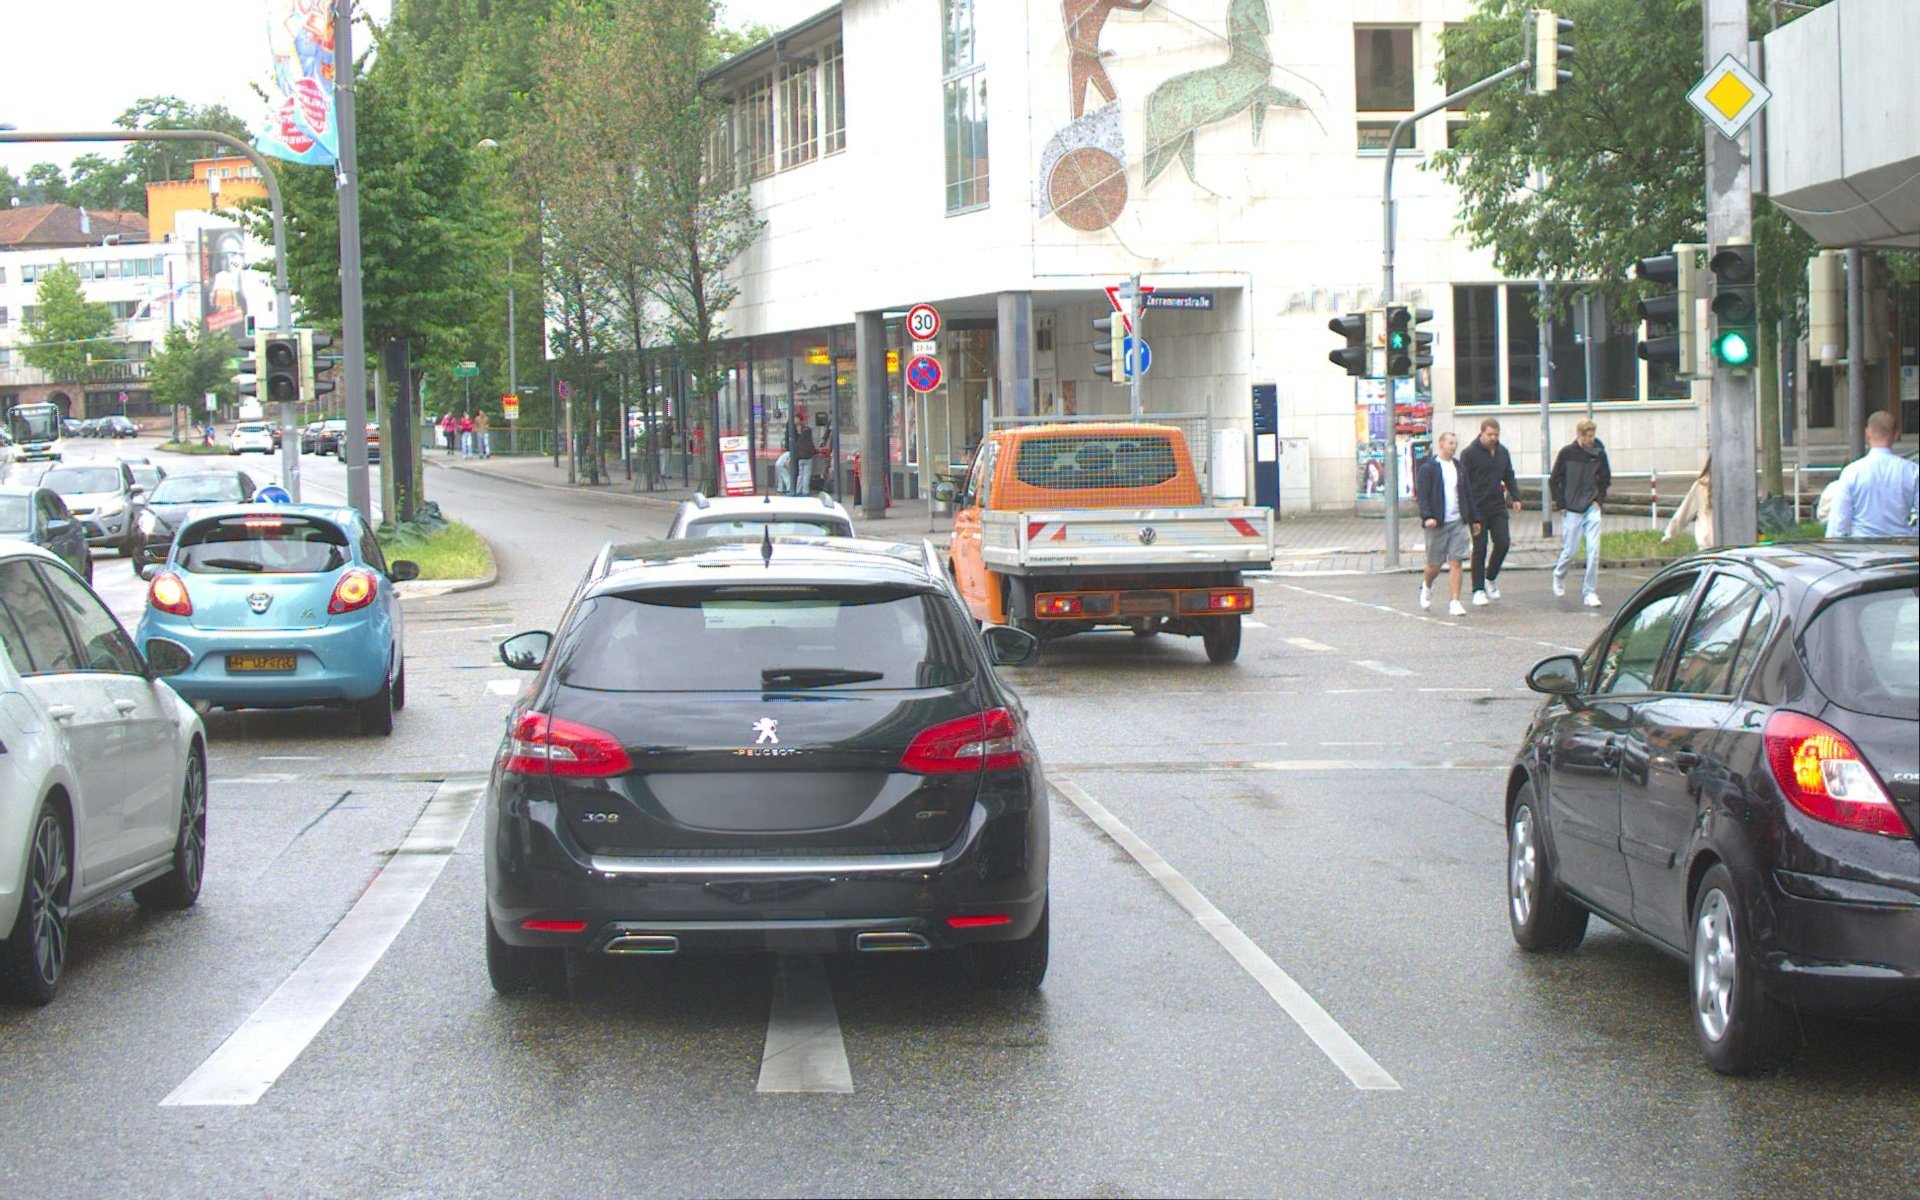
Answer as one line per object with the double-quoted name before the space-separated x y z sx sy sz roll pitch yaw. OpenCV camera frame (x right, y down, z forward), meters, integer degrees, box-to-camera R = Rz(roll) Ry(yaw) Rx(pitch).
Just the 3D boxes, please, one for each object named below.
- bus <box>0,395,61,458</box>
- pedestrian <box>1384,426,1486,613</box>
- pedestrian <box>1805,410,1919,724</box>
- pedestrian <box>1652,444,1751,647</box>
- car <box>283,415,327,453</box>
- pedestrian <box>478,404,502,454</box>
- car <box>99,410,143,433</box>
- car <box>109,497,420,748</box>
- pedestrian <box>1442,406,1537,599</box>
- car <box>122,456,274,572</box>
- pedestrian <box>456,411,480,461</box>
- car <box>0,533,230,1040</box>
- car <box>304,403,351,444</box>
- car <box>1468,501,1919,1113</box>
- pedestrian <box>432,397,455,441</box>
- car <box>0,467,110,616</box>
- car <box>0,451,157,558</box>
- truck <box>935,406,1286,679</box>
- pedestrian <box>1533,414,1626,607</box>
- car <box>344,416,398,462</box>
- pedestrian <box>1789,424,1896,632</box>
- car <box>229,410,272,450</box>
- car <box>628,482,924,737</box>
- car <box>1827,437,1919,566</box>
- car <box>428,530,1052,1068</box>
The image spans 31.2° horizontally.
"bus" -50.694 -9.527 187.392 2.743 3.064 12.243 -2 5 -17
"pedestrian" 4.613 -0.784 33.452 0.748 1.773 0.888 -2 1 -6
"pedestrian" 5.473 -0.202 20.641 0.622 1.840 0.847 -1 1 4
"pedestrian" 6.279 -0.476 29.137 0.574 1.657 0.940 -3 3 0
"car" -29.490 -7.461 154.739 1.644 1.559 3.601 1 0 -15
"pedestrian" -17.057 -6.204 124.742 0.698 1.795 0.607 -4 4 -15
"car" -61.157 -13.007 250.564 1.645 1.559 3.599 1 0 -39
"car" -4.560 0.081 22.982 1.695 1.469 3.691 -1 2 -6
"pedestrian" 5.314 -0.981 34.510 0.758 1.895 0.790 -2 1 -3
"car" -11.161 -1.295 50.548 1.622 1.550 3.661 -2 3 -4
"pedestrian" -17.825 -5.949 124.578 0.653 1.761 0.923 -4 4 -15
"car" -3.728 0.492 11.788 1.765 1.404 4.001 1 2 -3
"car" -26.304 -7.326 142.882 1.644 1.559 3.601 1 0 -15
"car" 2.770 0.469 10.552 1.708 1.452 3.743 0 3 -2
"pedestrian" -19.594 -6.878 130.409 0.717 1.614 0.770 -4 4 -15
"car" -10.301 -0.605 36.459 1.713 1.473 3.958 -3 2 -3
"car" -15.231 -1.683 59.545 1.827 1.730 4.312 -2 2 -4
"truck" 1.142 -0.538 28.679 2.121 2.018 4.717 -2 3 -7
"pedestrian" 6.191 -0.894 34.392 0.732 1.889 0.676 -2 1 -3
"car" -21.981 -5.988 128.142 1.644 1.559 3.601 1 0 -15
"pedestrian" 7.468 -0.624 29.113 0.588 1.700 0.971 -3 3 0
"car" -31.232 -7.461 151.261 1.644 1.559 3.601 1 0 -15
"car" -1.349 -0.012 23.716 1.794 1.478 4.001 -2 3 -6
"car" 12.461 -1.205 39.985 4.258 1.415 1.788 -2 3 -15
"car" -0.656 0.537 11.924 1.795 1.478 4.001 0 2 -1
